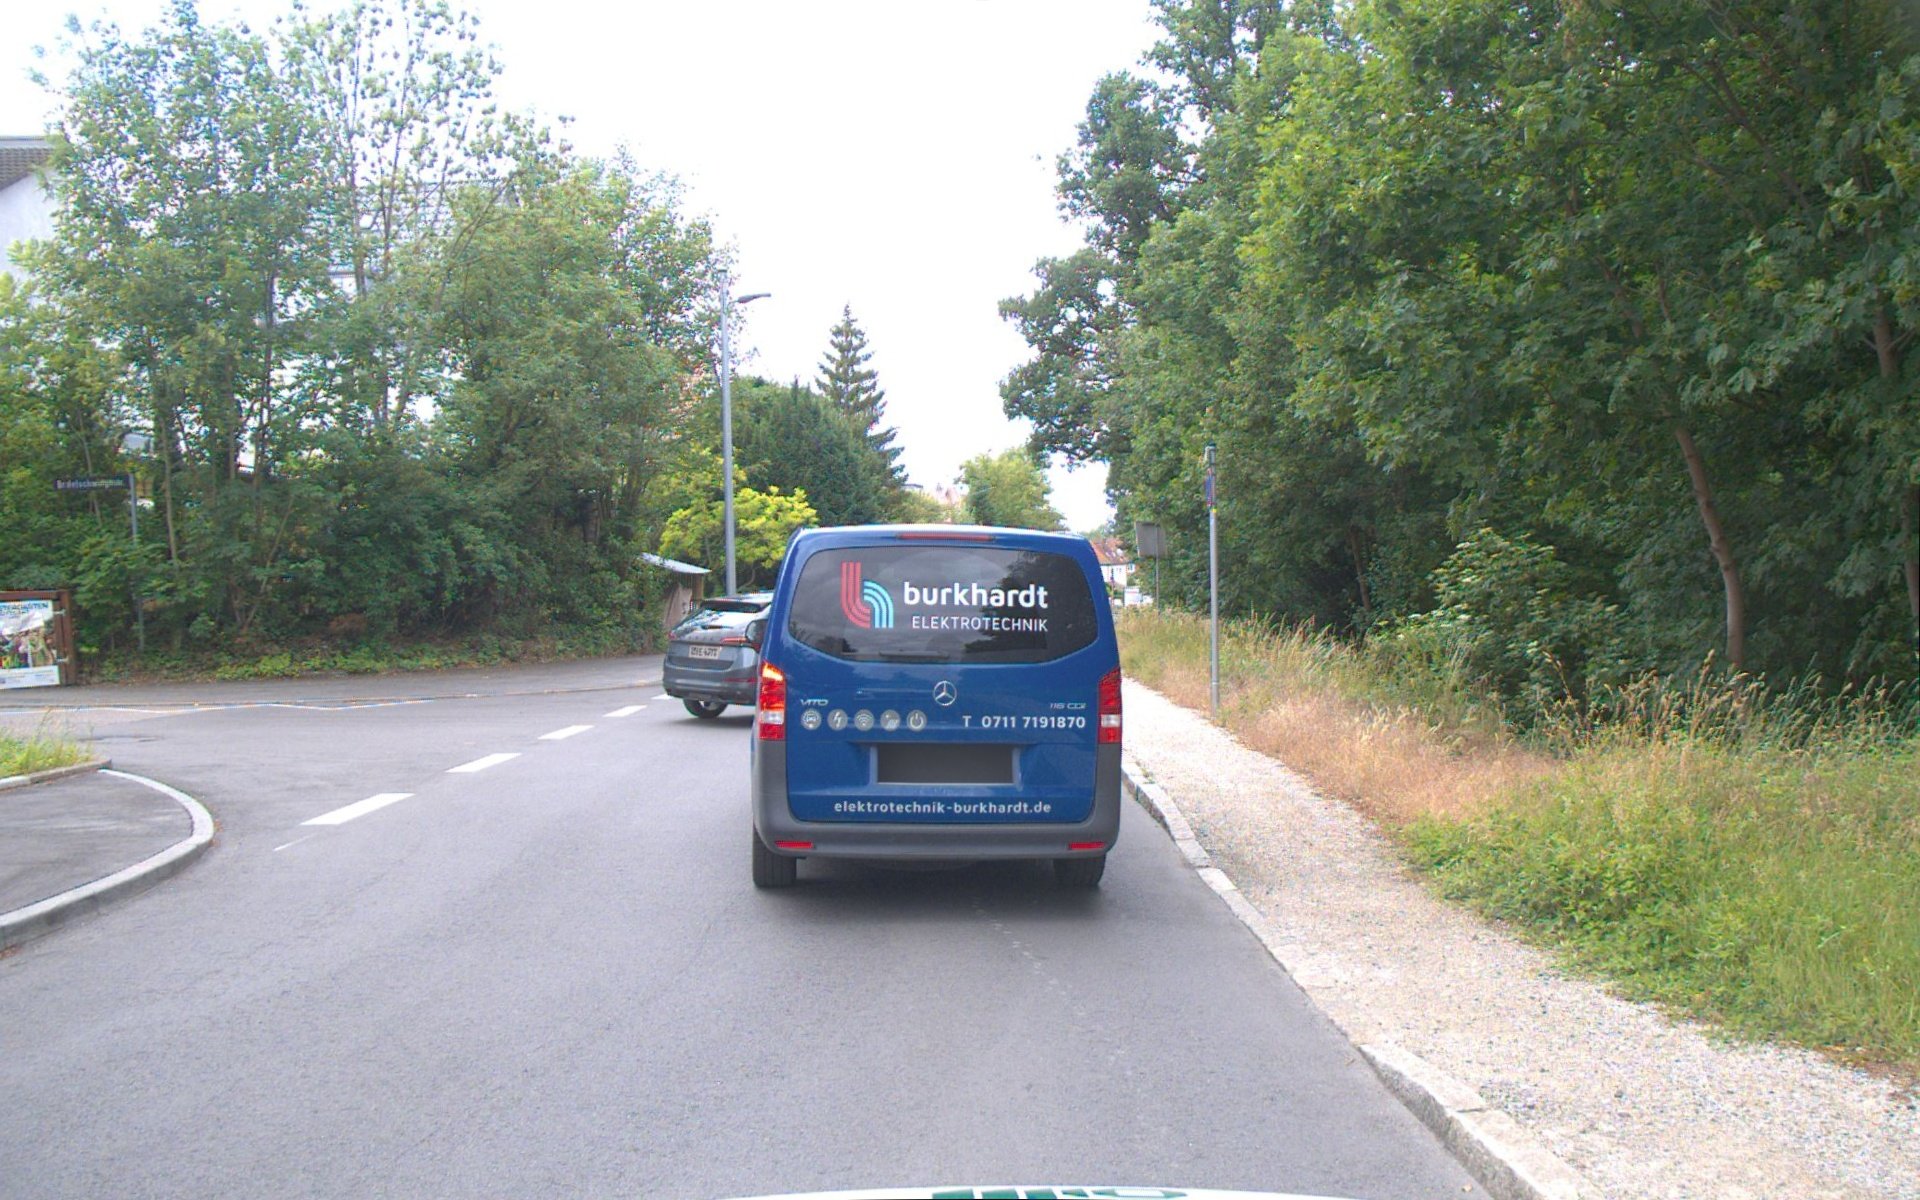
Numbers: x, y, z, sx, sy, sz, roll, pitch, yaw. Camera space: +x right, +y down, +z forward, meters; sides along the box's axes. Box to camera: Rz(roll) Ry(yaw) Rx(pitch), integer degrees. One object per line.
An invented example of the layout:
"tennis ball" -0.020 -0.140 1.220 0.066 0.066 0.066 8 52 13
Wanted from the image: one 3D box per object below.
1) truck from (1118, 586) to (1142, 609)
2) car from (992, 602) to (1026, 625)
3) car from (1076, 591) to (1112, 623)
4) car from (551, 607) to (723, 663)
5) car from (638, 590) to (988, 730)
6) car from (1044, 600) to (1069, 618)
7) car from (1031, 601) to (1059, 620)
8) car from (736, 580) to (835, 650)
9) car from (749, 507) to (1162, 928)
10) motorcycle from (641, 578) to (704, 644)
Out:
"truck" 21.302 -0.348 207.329 2.704 2.842 9.276 0 0 8
"car" 3.136 0.844 105.265 1.712 1.429 4.003 1 0 8
"car" 9.042 0.434 111.479 2.159 2.100 6.139 0 0 7
"car" -9.087 0.966 46.735 4.386 1.466 1.880 1 0 5
"car" -1.641 0.642 19.656 1.708 1.472 4.157 1 0 41
"car" 7.805 0.701 133.431 1.712 1.429 4.003 1 0 8
"car" 6.379 0.784 124.158 1.712 1.429 4.003 1 0 8
"car" -3.922 0.314 37.726 1.670 1.493 4.077 1 0 2
"car" -0.219 0.511 9.863 1.899 1.913 4.525 0 1 -5
"motorcycle" -6.873 0.250 39.732 0.792 1.511 2.897 1 0 4
